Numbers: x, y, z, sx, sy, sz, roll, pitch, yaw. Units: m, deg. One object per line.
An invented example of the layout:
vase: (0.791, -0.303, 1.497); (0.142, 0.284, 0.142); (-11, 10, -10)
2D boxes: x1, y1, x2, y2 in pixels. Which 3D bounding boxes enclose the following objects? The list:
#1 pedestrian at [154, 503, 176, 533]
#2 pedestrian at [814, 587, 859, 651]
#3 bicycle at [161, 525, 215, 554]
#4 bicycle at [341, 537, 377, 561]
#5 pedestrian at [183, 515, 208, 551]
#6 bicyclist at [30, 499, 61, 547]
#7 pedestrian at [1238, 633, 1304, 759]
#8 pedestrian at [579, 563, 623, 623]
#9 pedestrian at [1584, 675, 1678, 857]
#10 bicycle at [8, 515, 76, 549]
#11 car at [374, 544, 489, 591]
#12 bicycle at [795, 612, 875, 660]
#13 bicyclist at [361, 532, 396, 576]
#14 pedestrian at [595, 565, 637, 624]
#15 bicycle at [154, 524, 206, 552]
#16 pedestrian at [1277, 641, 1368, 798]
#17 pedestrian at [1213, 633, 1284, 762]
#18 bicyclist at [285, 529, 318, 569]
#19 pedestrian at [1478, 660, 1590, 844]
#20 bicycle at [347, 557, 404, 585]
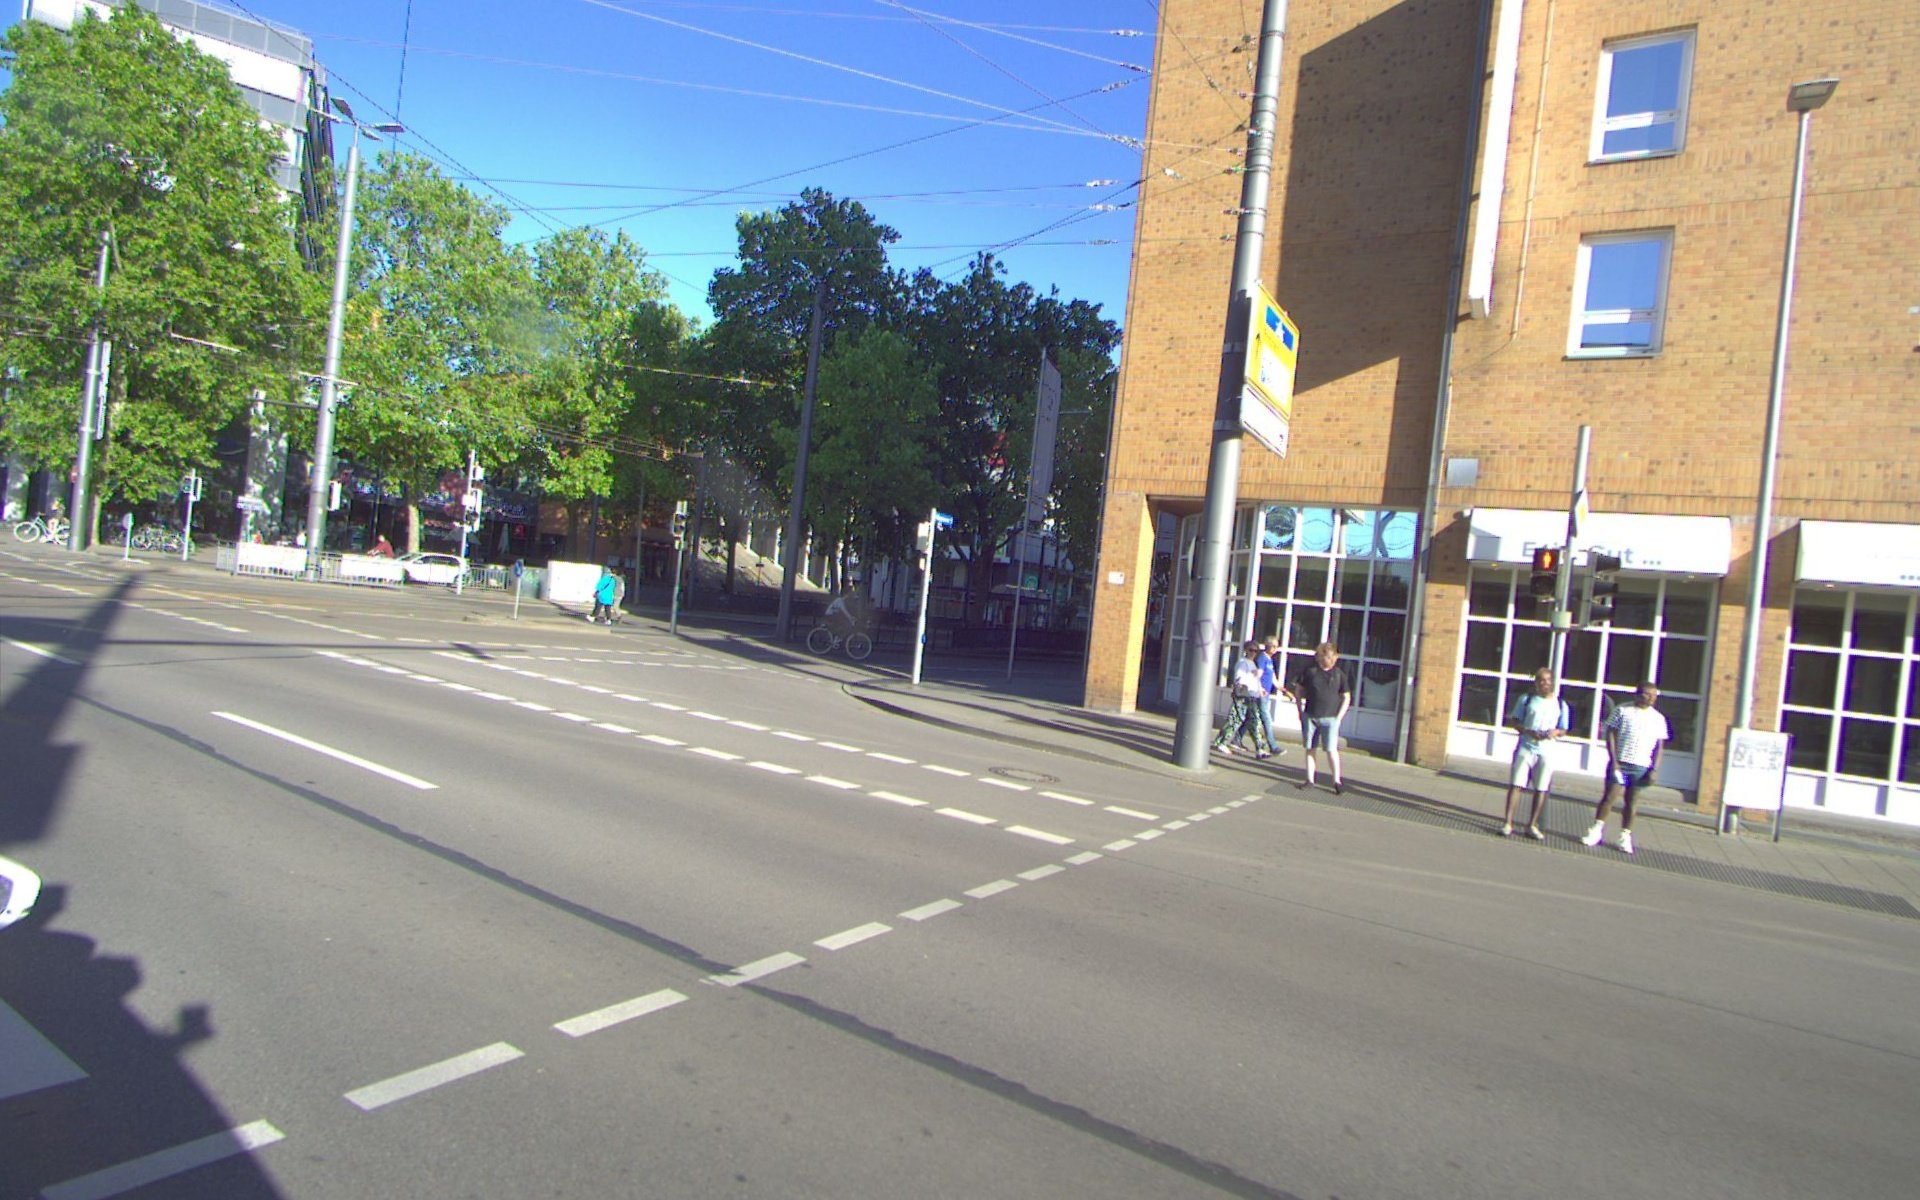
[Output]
pedestrian: (-43.651, -4.498, 55.237); (0.771, 1.546, 0.559); (6, 1, -34)
pedestrian: (-3.347, 0.532, 27.413); (0.822, 1.613, 0.773); (6, -1, 14)
bicycle: (-32.862, -2.574, 42.831); (0.385, 0.998, 1.700); (7, 0, 44)
bicycle: (-31.650, -2.645, 53.013); (0.865, 1.105, 2.921); (7, 0, -17)
pedestrian: (-42.853, -3.752, 56.400); (0.842, 1.873, 0.803); (9, -2, -33)
bicyclist: (-35.085, -2.954, 38.582); (0.562, 1.716, 0.741); (6, 1, 42)
pedestrian: (4.543, 1.396, 14.703); (0.593, 1.747, 0.602); (6, -1, 35)
pedestrian: (-9.944, -0.191, 27.869); (0.729, 1.558, 0.677); (6, -1, 23)
pedestrian: (7.039, 1.719, 10.566); (0.401, 1.798, 0.573); (4, 2, -38)
bicycle: (-35.152, -2.599, 38.549); (0.509, 1.034, 1.849); (6, 0, 42)
car: (-23.502, -1.435, 44.869); (1.969, 1.503, 3.990); (6, -2, 35)
bicycle: (-3.400, 0.991, 27.417); (1.886, 1.064, 0.793); (6, -1, 16)
bicyclist: (-23.734, -1.870, 41.051); (0.627, 1.635, 0.926); (7, 0, 35)
pedestrian: (-9.797, -0.161, 28.631); (0.729, 1.558, 0.652); (6, -1, 23)
bicycle: (-34.132, -2.698, 44.060); (0.385, 0.998, 1.700); (7, 0, 44)
pedestrian: (4.420, 1.442, 12.297); (0.682, 1.789, 0.574); (7, 0, 0)
pedestrian: (4.082, 1.371, 14.226); (0.648, 1.724, 0.562); (6, -1, 34)
bicyclist: (-35.096, -2.730, 53.625); (1.216, 1.955, 0.829); (6, 0, -29)
pedestrian: (6.171, 1.618, 10.838); (0.719, 1.857, 0.497); (5, 2, -4)
bicycle: (-23.820, -1.163, 41.038); (0.642, 0.921, 1.854); (7, 0, 35)
